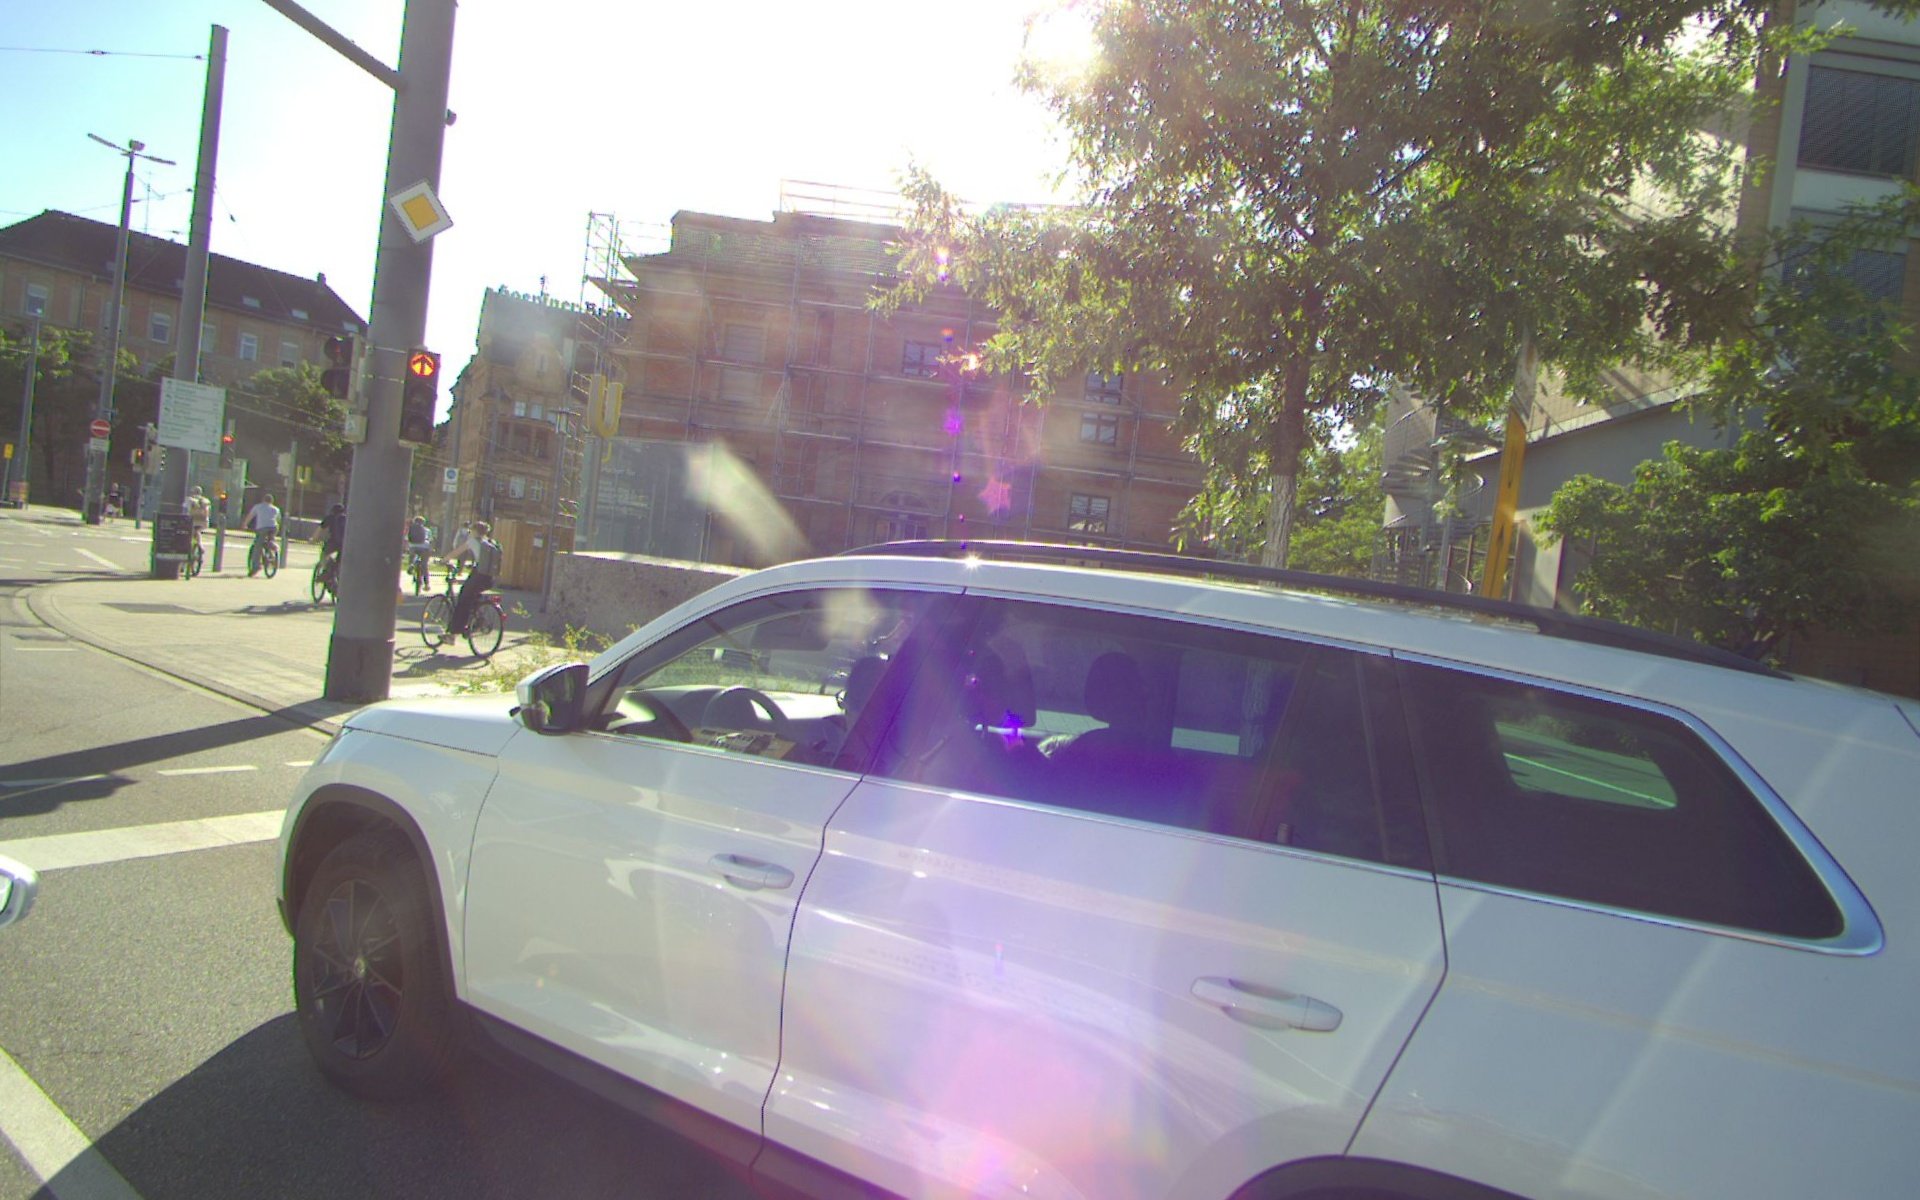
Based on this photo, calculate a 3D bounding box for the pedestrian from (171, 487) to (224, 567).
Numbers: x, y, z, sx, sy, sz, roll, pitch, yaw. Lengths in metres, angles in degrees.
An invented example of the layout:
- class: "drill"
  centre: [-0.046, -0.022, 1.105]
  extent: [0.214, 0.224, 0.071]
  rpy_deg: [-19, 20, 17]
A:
- class: "pedestrian"
  centre: [-16.063, -1.539, 21.196]
  extent: [0.845, 1.582, 0.548]
  rpy_deg: [7, 1, 36]

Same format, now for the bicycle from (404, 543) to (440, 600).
- class: "bicycle"
  centre: [-11.792, -0.642, 22.055]
  extent: [0.567, 1.139, 1.727]
  rpy_deg: [6, 1, -28]

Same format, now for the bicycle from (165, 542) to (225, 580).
- class: "bicycle"
  centre: [-16.186, -0.834, 21.282]
  extent: [1.699, 0.664, 0.536]
  rpy_deg: [7, 3, 36]

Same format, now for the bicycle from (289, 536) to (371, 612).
- class: "bicycle"
  centre: [-10.873, -0.458, 17.342]
  extent: [1.824, 1.129, 0.624]
  rpy_deg: [7, 3, 40]

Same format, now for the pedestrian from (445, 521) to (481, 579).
- class: "pedestrian"
  centre: [-17.337, -1.731, 35.098]
  extent: [0.887, 1.883, 0.922]
  rpy_deg: [6, 1, -23]

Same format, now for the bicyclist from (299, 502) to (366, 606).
- class: "bicyclist"
  centre: [-10.776, -0.793, 17.271]
  extent: [0.980, 1.659, 0.624]
  rpy_deg: [8, 3, 40]

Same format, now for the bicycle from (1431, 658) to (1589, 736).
- class: "bicycle"
  centre: [13.067, 2.286, 23.999]
  extent: [3.079, 1.395, 0.798]
  rpy_deg: [7, 1, 8]

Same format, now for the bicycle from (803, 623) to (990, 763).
- class: "bicycle"
  centre: [-0.635, 0.852, 9.659]
  extent: [1.739, 1.059, 0.516]
  rpy_deg: [7, 3, 32]

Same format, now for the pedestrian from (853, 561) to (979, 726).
- class: "pedestrian"
  centre: [-0.424, 0.390, 9.529]
  extent: [0.945, 1.421, 0.516]
  rpy_deg: [7, 3, 32]

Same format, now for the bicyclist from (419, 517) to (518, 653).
- class: "bicyclist"
  centre: [-6.283, -0.189, 12.846]
  extent: [0.962, 1.620, 0.684]
  rpy_deg: [7, 3, 36]

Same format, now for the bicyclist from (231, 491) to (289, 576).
- class: "bicyclist"
  centre: [-15.893, -1.518, 22.849]
  extent: [0.910, 1.802, 0.746]
  rpy_deg: [8, 2, 39]

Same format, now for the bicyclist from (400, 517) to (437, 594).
- class: "bicyclist"
  centre: [-11.805, -0.965, 21.943]
  extent: [0.567, 1.589, 0.939]
  rpy_deg: [5, 2, -29]

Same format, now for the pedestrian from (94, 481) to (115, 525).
- class: "pedestrian"
  centre: [-41.444, -4.680, 48.727]
  extent: [0.443, 2.039, 0.462]
  rpy_deg: [7, 2, 14]

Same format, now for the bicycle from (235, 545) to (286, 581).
- class: "bicycle"
  centre: [-15.865, -0.833, 22.806]
  extent: [1.446, 0.664, 0.536]
  rpy_deg: [7, 2, 39]

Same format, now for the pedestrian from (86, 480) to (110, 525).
- class: "pedestrian"
  centre: [-41.100, -4.660, 47.979]
  extent: [0.443, 2.039, 0.574]
  rpy_deg: [7, 1, 14]

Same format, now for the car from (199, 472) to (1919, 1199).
- class: "car"
  centre: [0.015, 0.720, 2.696]
  extent: [4.224, 1.662, 1.697]
  rpy_deg: [7, 0, 30]

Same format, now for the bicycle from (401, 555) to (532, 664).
- class: "bicycle"
  centre: [-6.341, 0.103, 12.888]
  extent: [1.854, 1.179, 0.684]
  rpy_deg: [7, 3, 36]
